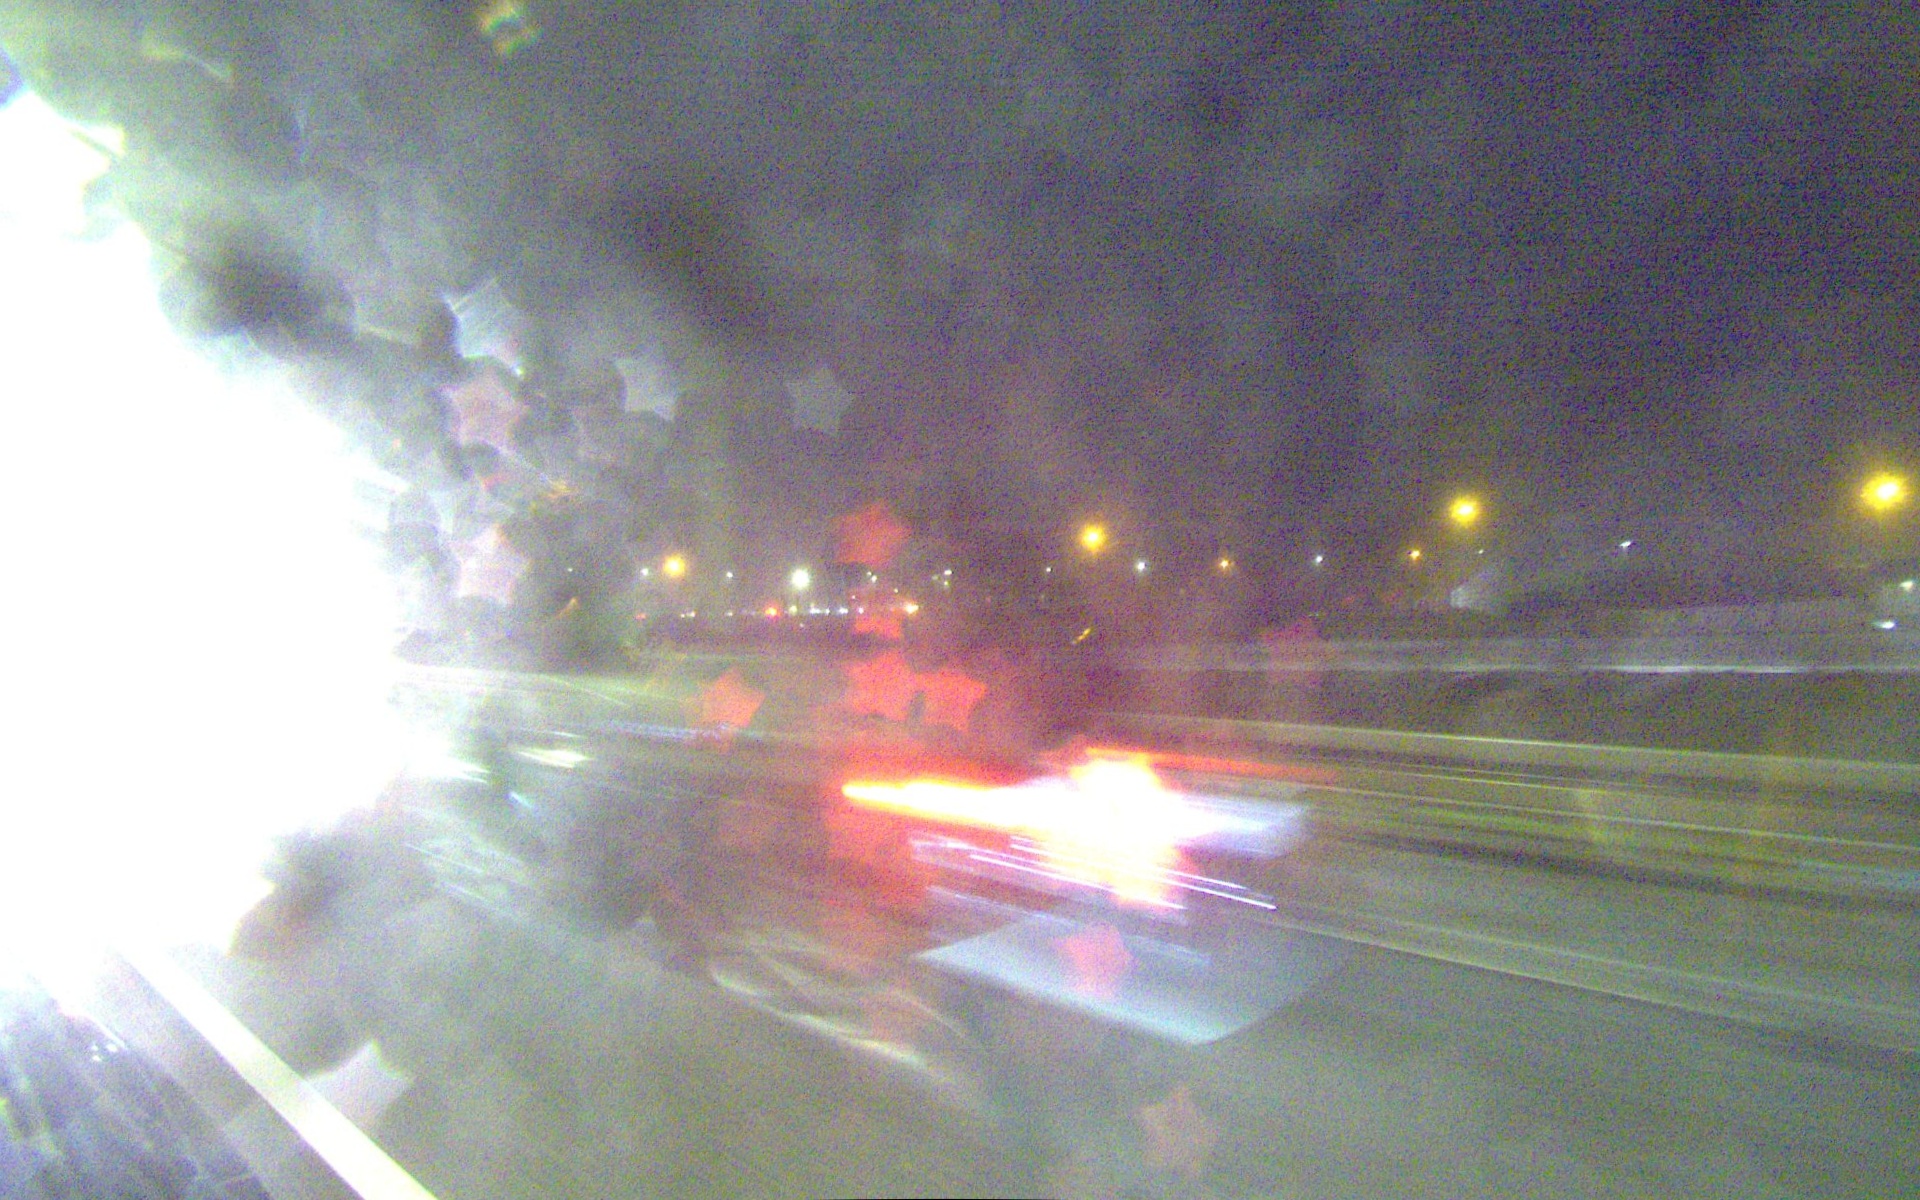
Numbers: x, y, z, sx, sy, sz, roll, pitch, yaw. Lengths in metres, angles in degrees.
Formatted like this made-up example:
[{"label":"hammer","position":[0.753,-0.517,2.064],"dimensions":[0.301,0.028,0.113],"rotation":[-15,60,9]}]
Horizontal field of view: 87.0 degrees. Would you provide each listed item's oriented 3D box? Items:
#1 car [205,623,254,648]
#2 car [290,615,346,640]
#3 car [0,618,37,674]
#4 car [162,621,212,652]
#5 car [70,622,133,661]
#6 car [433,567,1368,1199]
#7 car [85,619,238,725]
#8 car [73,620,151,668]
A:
[{"label":"car","position":[-44.211,2.113,61.333],"dimensions":[1.704,1.415,3.875],"rotation":[0,-1,-25]},{"label":"car","position":[-54.263,2.278,85.663],"dimensions":[2.416,2.003,5.509],"rotation":[-1,-1,-15]},{"label":"car","position":[-35.329,1.694,37.242],"dimensions":[1.969,1.949,4.005],"rotation":[0,-1,-42]},{"label":"car","position":[-51.861,2.427,67.992],"dimensions":[1.965,1.949,4.013],"rotation":[-1,-1,-27]},{"label":"car","position":[-45.038,2.149,53.183],"dimensions":[1.966,1.949,4.011],"rotation":[-1,-1,-32]},{"label":"car","position":[-0.602,0.701,4.328],"dimensions":[4.045,1.490,1.601],"rotation":[-1,-1,42]},{"label":"car","position":[-12.742,1.049,16.070],"dimensions":[1.644,1.443,3.824],"rotation":[0,-1,-42]},{"label":"car","position":[-27.837,1.389,33.331],"dimensions":[1.769,1.402,4.601],"rotation":[1,-1,-38]}]
